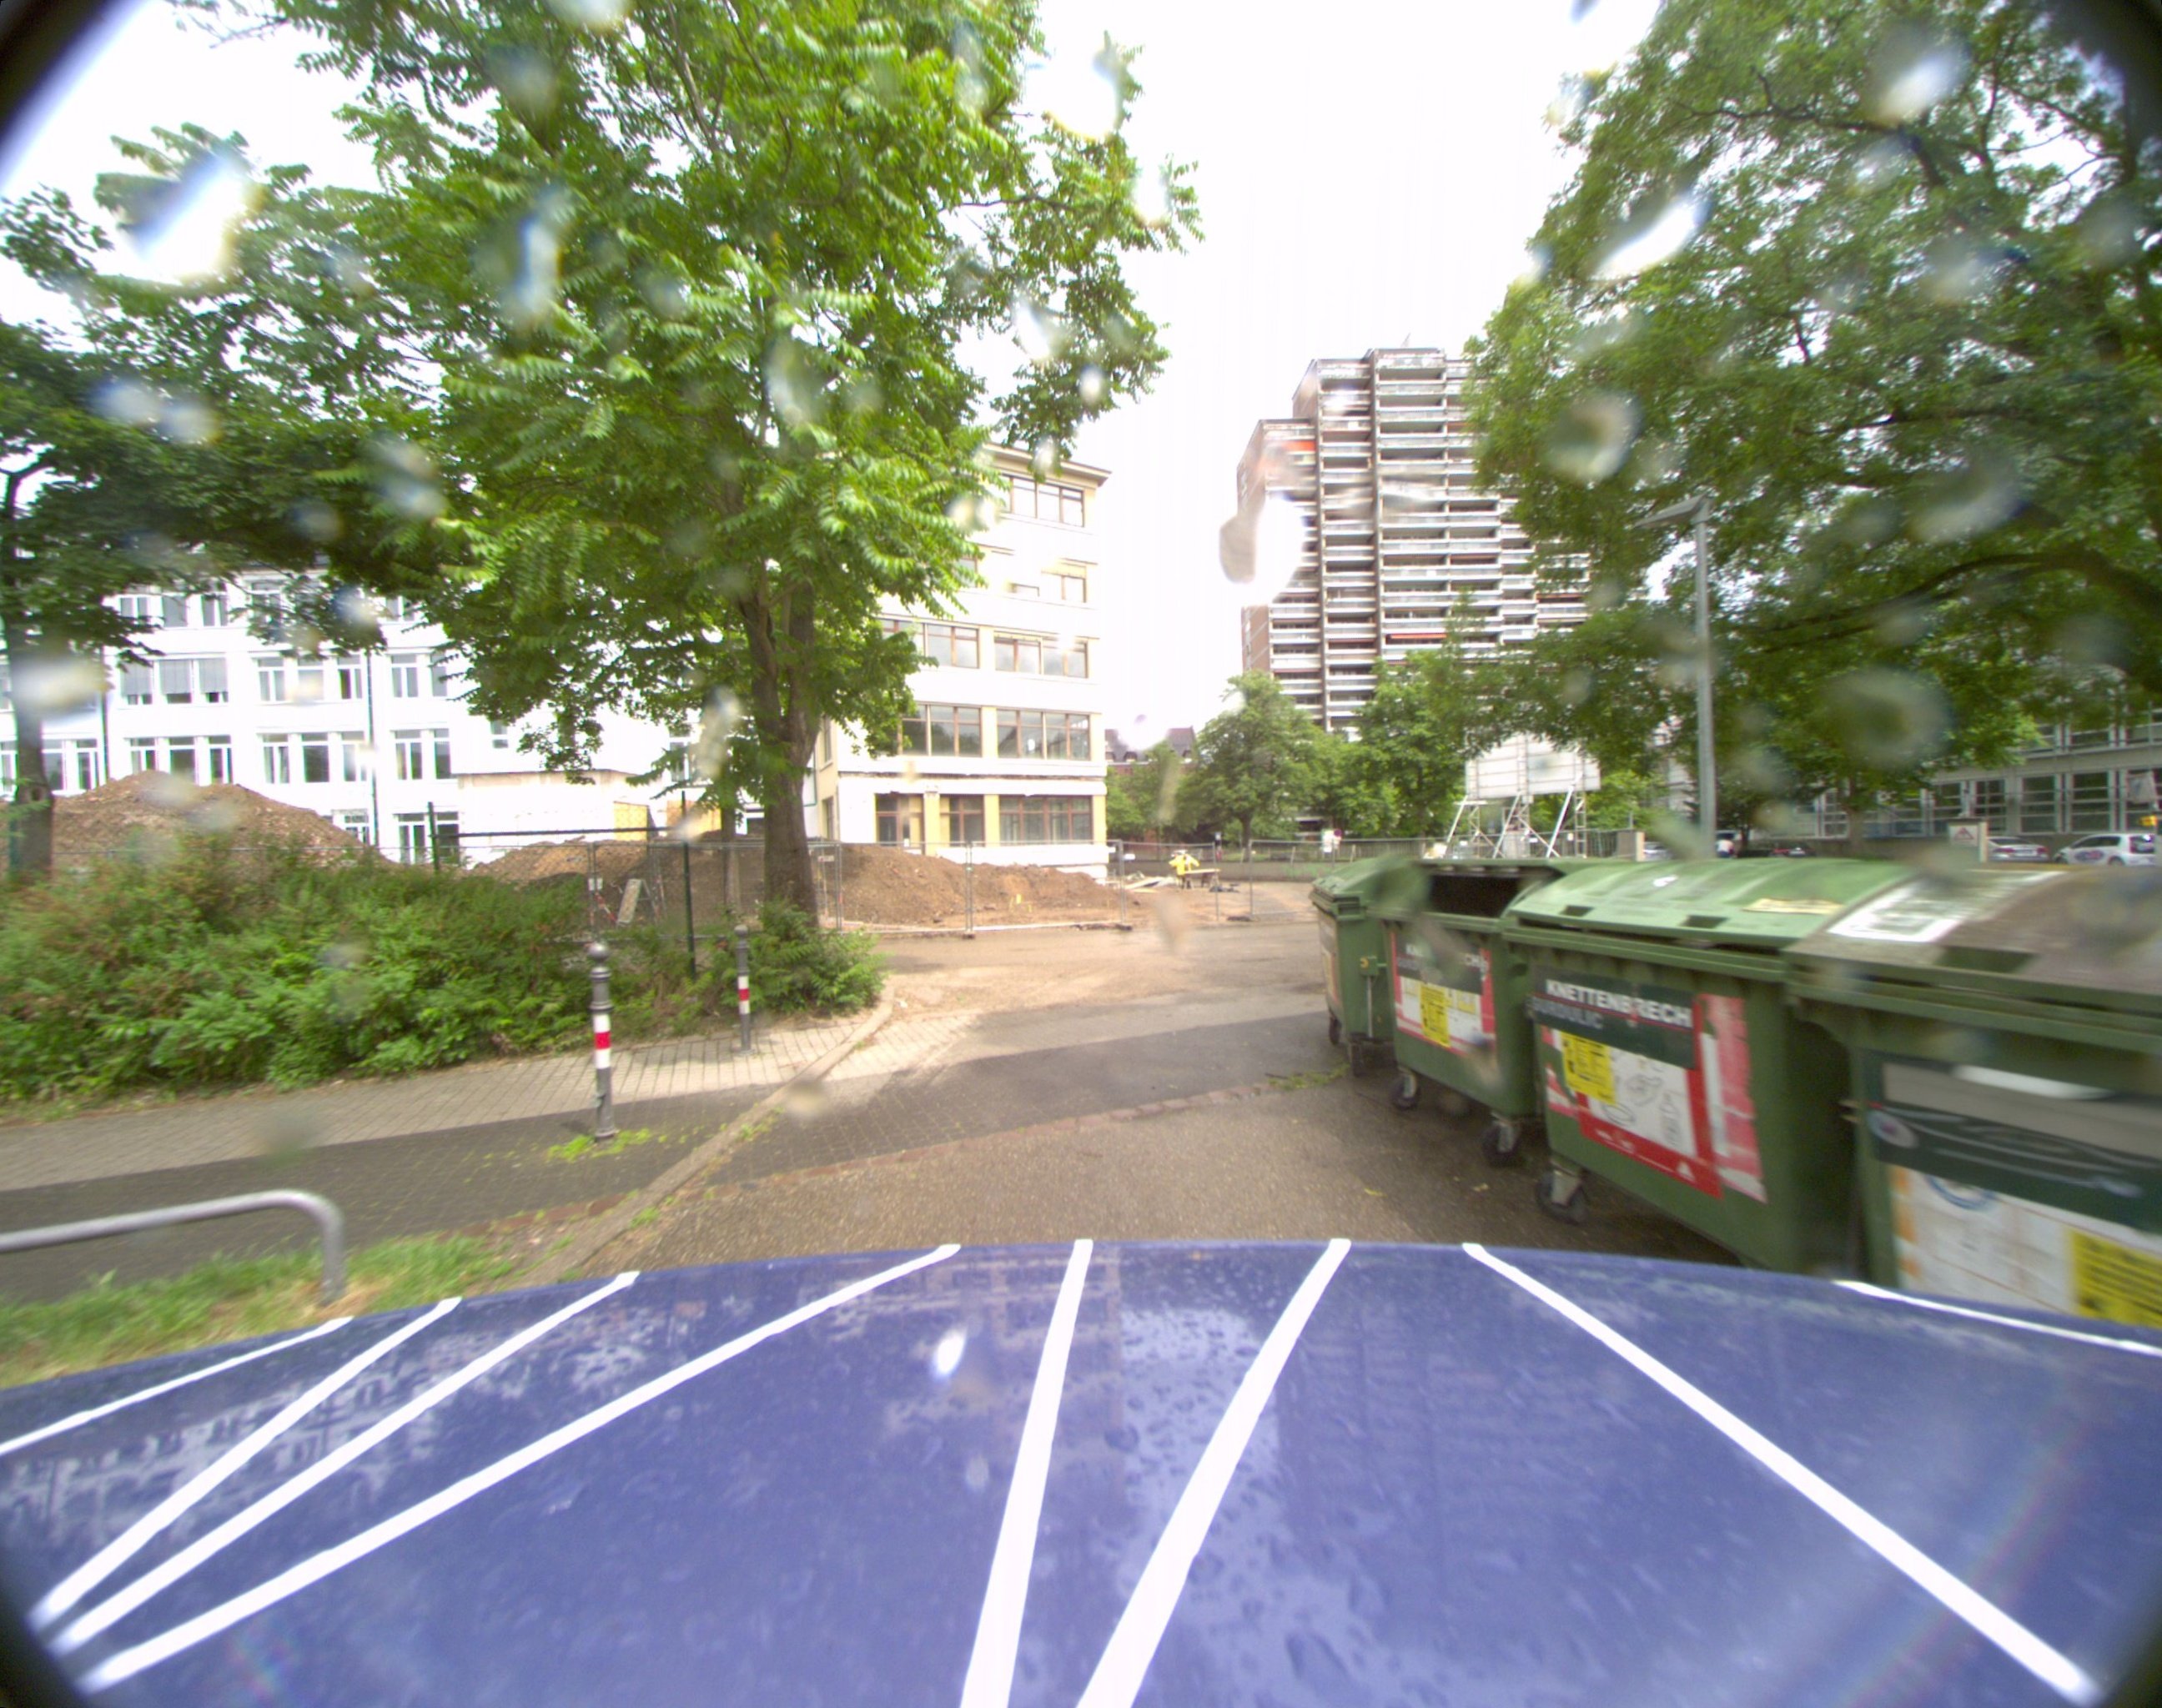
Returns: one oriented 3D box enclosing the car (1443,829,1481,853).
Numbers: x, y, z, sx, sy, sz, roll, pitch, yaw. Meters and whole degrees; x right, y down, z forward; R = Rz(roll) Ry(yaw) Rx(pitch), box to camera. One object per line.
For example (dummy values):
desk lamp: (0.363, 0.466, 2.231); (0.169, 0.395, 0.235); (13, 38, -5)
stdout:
car: (26.607, -0.910, 53.172); (1.855, 1.477, 4.006); (-3, 0, 21)

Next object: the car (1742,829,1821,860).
car: (34.410, -0.484, 37.435); (1.619, 1.419, 3.653); (-2, 1, 21)

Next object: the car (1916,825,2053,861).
car: (38.042, -0.457, 32.158); (1.720, 1.406, 4.004); (0, 1, 14)

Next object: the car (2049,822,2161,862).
car: (39.125, -0.451, 28.664); (1.650, 1.436, 3.394); (0, 1, 19)

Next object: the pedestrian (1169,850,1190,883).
pedestrian: (4.528, 0.576, 34.932); (0.650, 1.500, 0.623); (-2, 1, -40)

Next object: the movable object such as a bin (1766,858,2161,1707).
movable object such as a bin: (2.361, 0.751, 1.142); (1.363, 1.462, 1.365); (-3, 0, 0)

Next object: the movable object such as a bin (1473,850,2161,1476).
movable object such as a bin: (2.377, 0.759, 2.537); (1.363, 1.462, 1.352); (-3, 0, 0)

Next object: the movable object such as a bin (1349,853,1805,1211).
movable object such as a bin: (2.390, 0.767, 3.993); (1.363, 1.462, 1.465); (-3, 0, 0)

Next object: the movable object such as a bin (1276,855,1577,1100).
movable object such as a bin: (2.368, 0.778, 5.548); (1.412, 1.462, 1.561); (-3, 0, 0)

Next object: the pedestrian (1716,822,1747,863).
pedestrian: (32.395, -0.571, 37.836); (0.932, 2.002, 0.858); (-2, 1, -24)

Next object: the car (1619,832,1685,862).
car: (31.758, -0.386, 42.407); (1.855, 1.477, 4.006); (-3, 0, 21)

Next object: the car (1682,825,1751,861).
car: (32.844, -0.592, 39.384); (1.619, 1.736, 3.653); (-2, 1, 21)

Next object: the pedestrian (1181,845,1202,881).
pedestrian: (5.239, 0.433, 35.992); (0.775, 1.664, 0.714); (-1, 0, 27)
